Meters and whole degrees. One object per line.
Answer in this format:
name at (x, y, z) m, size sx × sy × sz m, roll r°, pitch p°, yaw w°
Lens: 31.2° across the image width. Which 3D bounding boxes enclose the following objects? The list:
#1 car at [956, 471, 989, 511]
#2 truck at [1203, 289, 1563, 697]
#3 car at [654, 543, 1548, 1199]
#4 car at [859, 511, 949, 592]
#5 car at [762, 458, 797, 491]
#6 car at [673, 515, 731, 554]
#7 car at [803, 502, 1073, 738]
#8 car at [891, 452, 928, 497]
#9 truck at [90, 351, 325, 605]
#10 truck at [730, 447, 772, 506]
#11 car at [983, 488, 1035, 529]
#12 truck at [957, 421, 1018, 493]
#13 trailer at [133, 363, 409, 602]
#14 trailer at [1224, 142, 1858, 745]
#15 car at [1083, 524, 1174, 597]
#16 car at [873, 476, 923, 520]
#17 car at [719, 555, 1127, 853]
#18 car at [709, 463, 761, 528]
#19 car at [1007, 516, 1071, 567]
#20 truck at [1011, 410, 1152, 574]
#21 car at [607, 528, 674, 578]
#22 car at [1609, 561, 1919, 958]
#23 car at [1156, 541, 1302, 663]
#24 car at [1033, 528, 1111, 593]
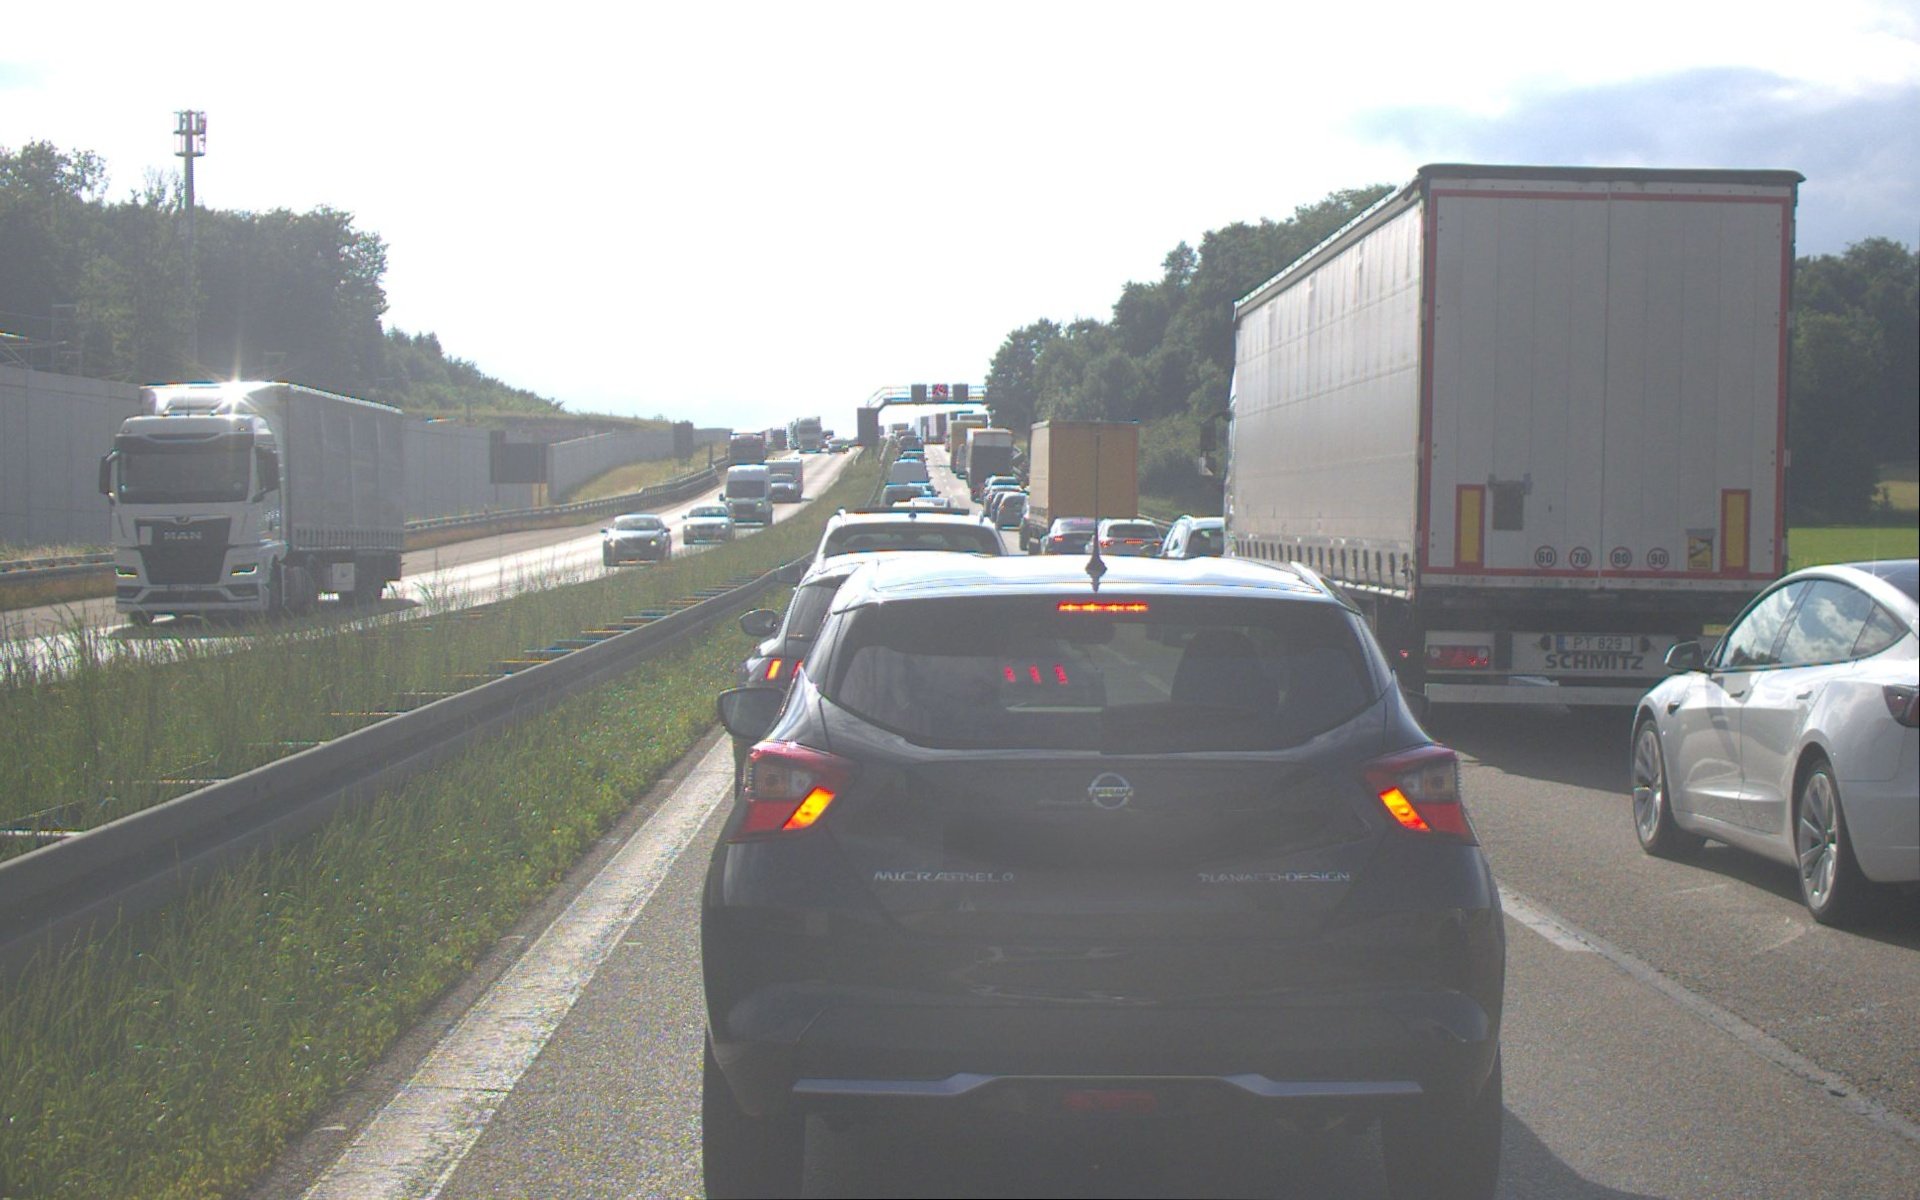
car at (0.730, -6.433, 202.536) m, size 1.873 × 2.151 × 5.212 m, roll 0°, pitch 4°, yaw -1°
truck at (4.382, -1.072, 36.692) m, size 3.133 × 4.002 × 5.164 m, roll 1°, pitch 0°, yaw 0°
car at (0.261, 0.577, 8.940) m, size 1.773 × 1.446 × 4.232 m, roll 0°, pitch 1°, yaw -1°
car at (-1.192, -1.069, 74.023) m, size 1.873 × 1.638 × 4.233 m, roll 0°, pitch 2°, yaw -1°
car at (-10.639, -7.400, 203.025) m, size 1.910 × 1.666 × 4.362 m, roll 0°, pitch -1°, yaw -1°
car at (-9.548, -2.419, 127.272) m, size 1.873 × 1.446 × 4.232 m, roll 0°, pitch 1°, yaw -1°
car at (-0.169, 0.104, 25.960) m, size 1.873 × 1.638 × 4.232 m, roll 0°, pitch 1°, yaw -1°
car at (-2.585, -6.454, 176.702) m, size 1.873 × 2.151 × 5.212 m, roll 0°, pitch 4°, yaw -1°
truck at (-12.837, -2.046, 59.065) m, size 2.776 × 4.074 × 5.532 m, roll -2°, pitch 1°, yaw -1°
truck at (-14.432, -8.504, 237.398) m, size 2.582 × 3.909 × 5.722 m, roll -1°, pitch 1°, yaw -1°
car at (2.064, -3.875, 145.484) m, size 1.873 × 1.638 × 4.233 m, roll 0°, pitch 3°, yaw -4°
truck at (1.768, -9.466, 228.234) m, size 3.464 × 4.561 × 12.443 m, roll 1°, pitch 2°, yaw -2°
trailer at (-12.989, -2.134, 66.191) m, size 2.790 × 4.063 × 13.521 m, roll -2°, pitch 1°, yaw -1°
trailer at (4.409, -1.062, 29.732) m, size 3.130 × 3.997 × 13.367 m, roll 1°, pitch 0°, yaw 0°
car at (3.905, -0.931, 80.295) m, size 1.873 × 1.638 × 4.232 m, roll 0°, pitch 1°, yaw -1°
car at (-2.409, -3.961, 132.655) m, size 1.873 × 1.638 × 4.233 m, roll 0°, pitch 3°, yaw -2°
car at (-0.187, 0.450, 17.896) m, size 1.873 × 1.353 × 4.232 m, roll 0°, pitch 1°, yaw -1°
car at (-10.125, -4.679, 155.076) m, size 2.104 × 2.860 × 5.637 m, roll 0°, pitch 1°, yaw -1°
car at (2.602, -1.955, 114.138) m, size 1.873 × 1.638 × 4.233 m, roll 0°, pitch 1°, yaw -3°
truck at (3.509, -3.107, 103.145) m, size 3.296 × 4.562 × 12.442 m, roll 1°, pitch 0°, yaw -2°
car at (-9.303, -1.379, 100.428) m, size 1.651 × 1.446 × 3.956 m, roll 0°, pitch 1°, yaw -1°
car at (4.136, 0.550, 14.634) m, size 1.788 × 1.389 × 4.437 m, roll 0°, pitch 1°, yaw -2°
car at (3.644, -0.009, 47.182) m, size 1.697 × 1.605 × 4.437 m, roll 0°, pitch 1°, yaw 0°
car at (2.899, -1.048, 89.873) m, size 1.873 × 1.638 × 4.232 m, roll 0°, pitch 1°, yaw -1°
